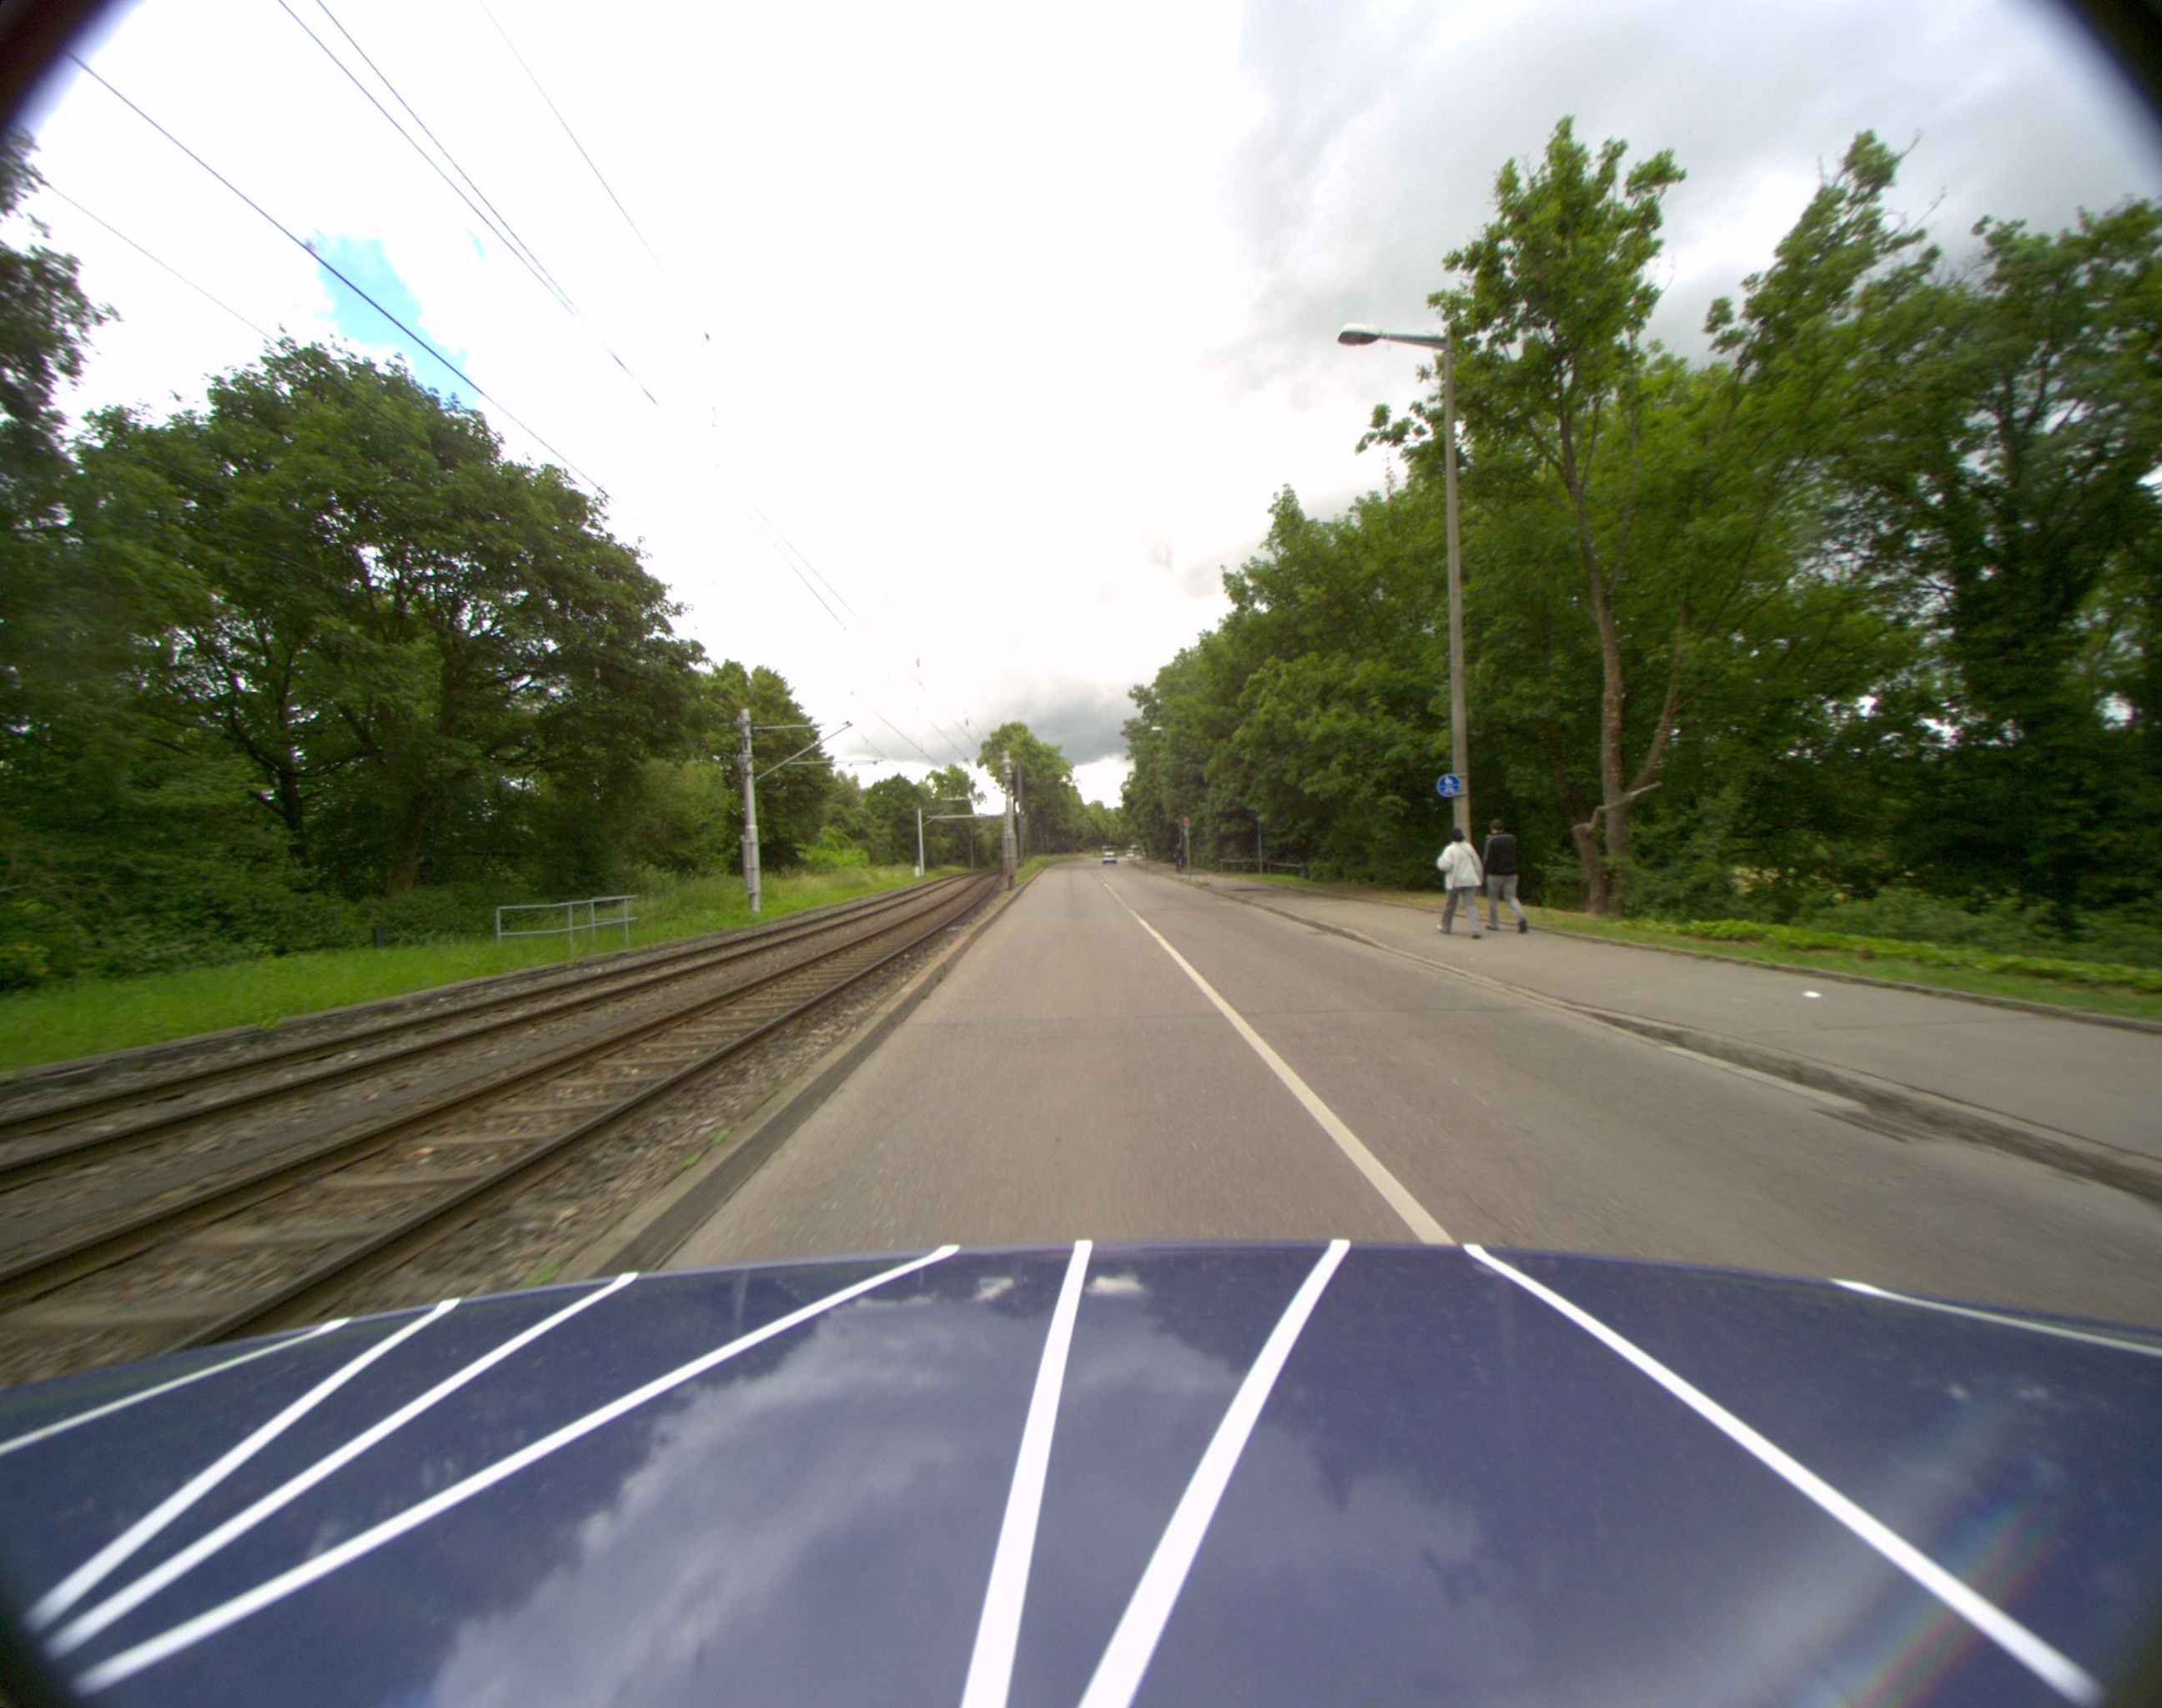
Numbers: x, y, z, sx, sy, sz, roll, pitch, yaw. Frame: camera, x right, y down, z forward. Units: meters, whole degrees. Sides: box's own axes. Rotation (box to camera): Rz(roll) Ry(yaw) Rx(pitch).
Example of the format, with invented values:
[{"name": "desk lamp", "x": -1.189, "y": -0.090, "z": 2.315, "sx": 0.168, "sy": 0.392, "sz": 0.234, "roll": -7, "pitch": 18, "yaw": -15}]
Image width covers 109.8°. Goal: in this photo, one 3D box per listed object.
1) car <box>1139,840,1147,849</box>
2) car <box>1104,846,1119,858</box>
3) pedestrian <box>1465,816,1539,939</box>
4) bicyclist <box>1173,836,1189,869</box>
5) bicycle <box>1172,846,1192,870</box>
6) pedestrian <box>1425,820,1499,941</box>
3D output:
[{"name": "car", "x": 17.814, "y": -2.643, "z": 219.577, "sx": 1.998, "sy": 2.611, "sz": 5.895, "roll": 0, "pitch": 0, "yaw": 3}, {"name": "car", "x": 3.936, "y": -0.281, "z": 98.749, "sx": 1.799, "sy": 1.483, "sz": 4.179, "roll": 0, "pitch": 0, "yaw": 0}, {"name": "pedestrian", "x": 6.487, "y": 0.350, "z": 11.740, "sx": 0.588, "sy": 1.793, "sz": 0.822, "roll": -3, "pitch": 1, "yaw": -1}, {"name": "bicyclist", "x": 6.043, "y": -0.113, "z": 45.876, "sx": 0.688, "sy": 1.937, "sz": 0.835, "roll": -3, "pitch": 1, "yaw": -4}, {"name": "bicycle", "x": 6.066, "y": 0.219, "z": 45.776, "sx": 0.700, "sy": 1.324, "sz": 2.279, "roll": -3, "pitch": 2, "yaw": -4}, {"name": "pedestrian", "x": 5.835, "y": 0.393, "z": 11.674, "sx": 0.552, "sy": 1.755, "sz": 0.858, "roll": -6, "pitch": 1, "yaw": -1}]
